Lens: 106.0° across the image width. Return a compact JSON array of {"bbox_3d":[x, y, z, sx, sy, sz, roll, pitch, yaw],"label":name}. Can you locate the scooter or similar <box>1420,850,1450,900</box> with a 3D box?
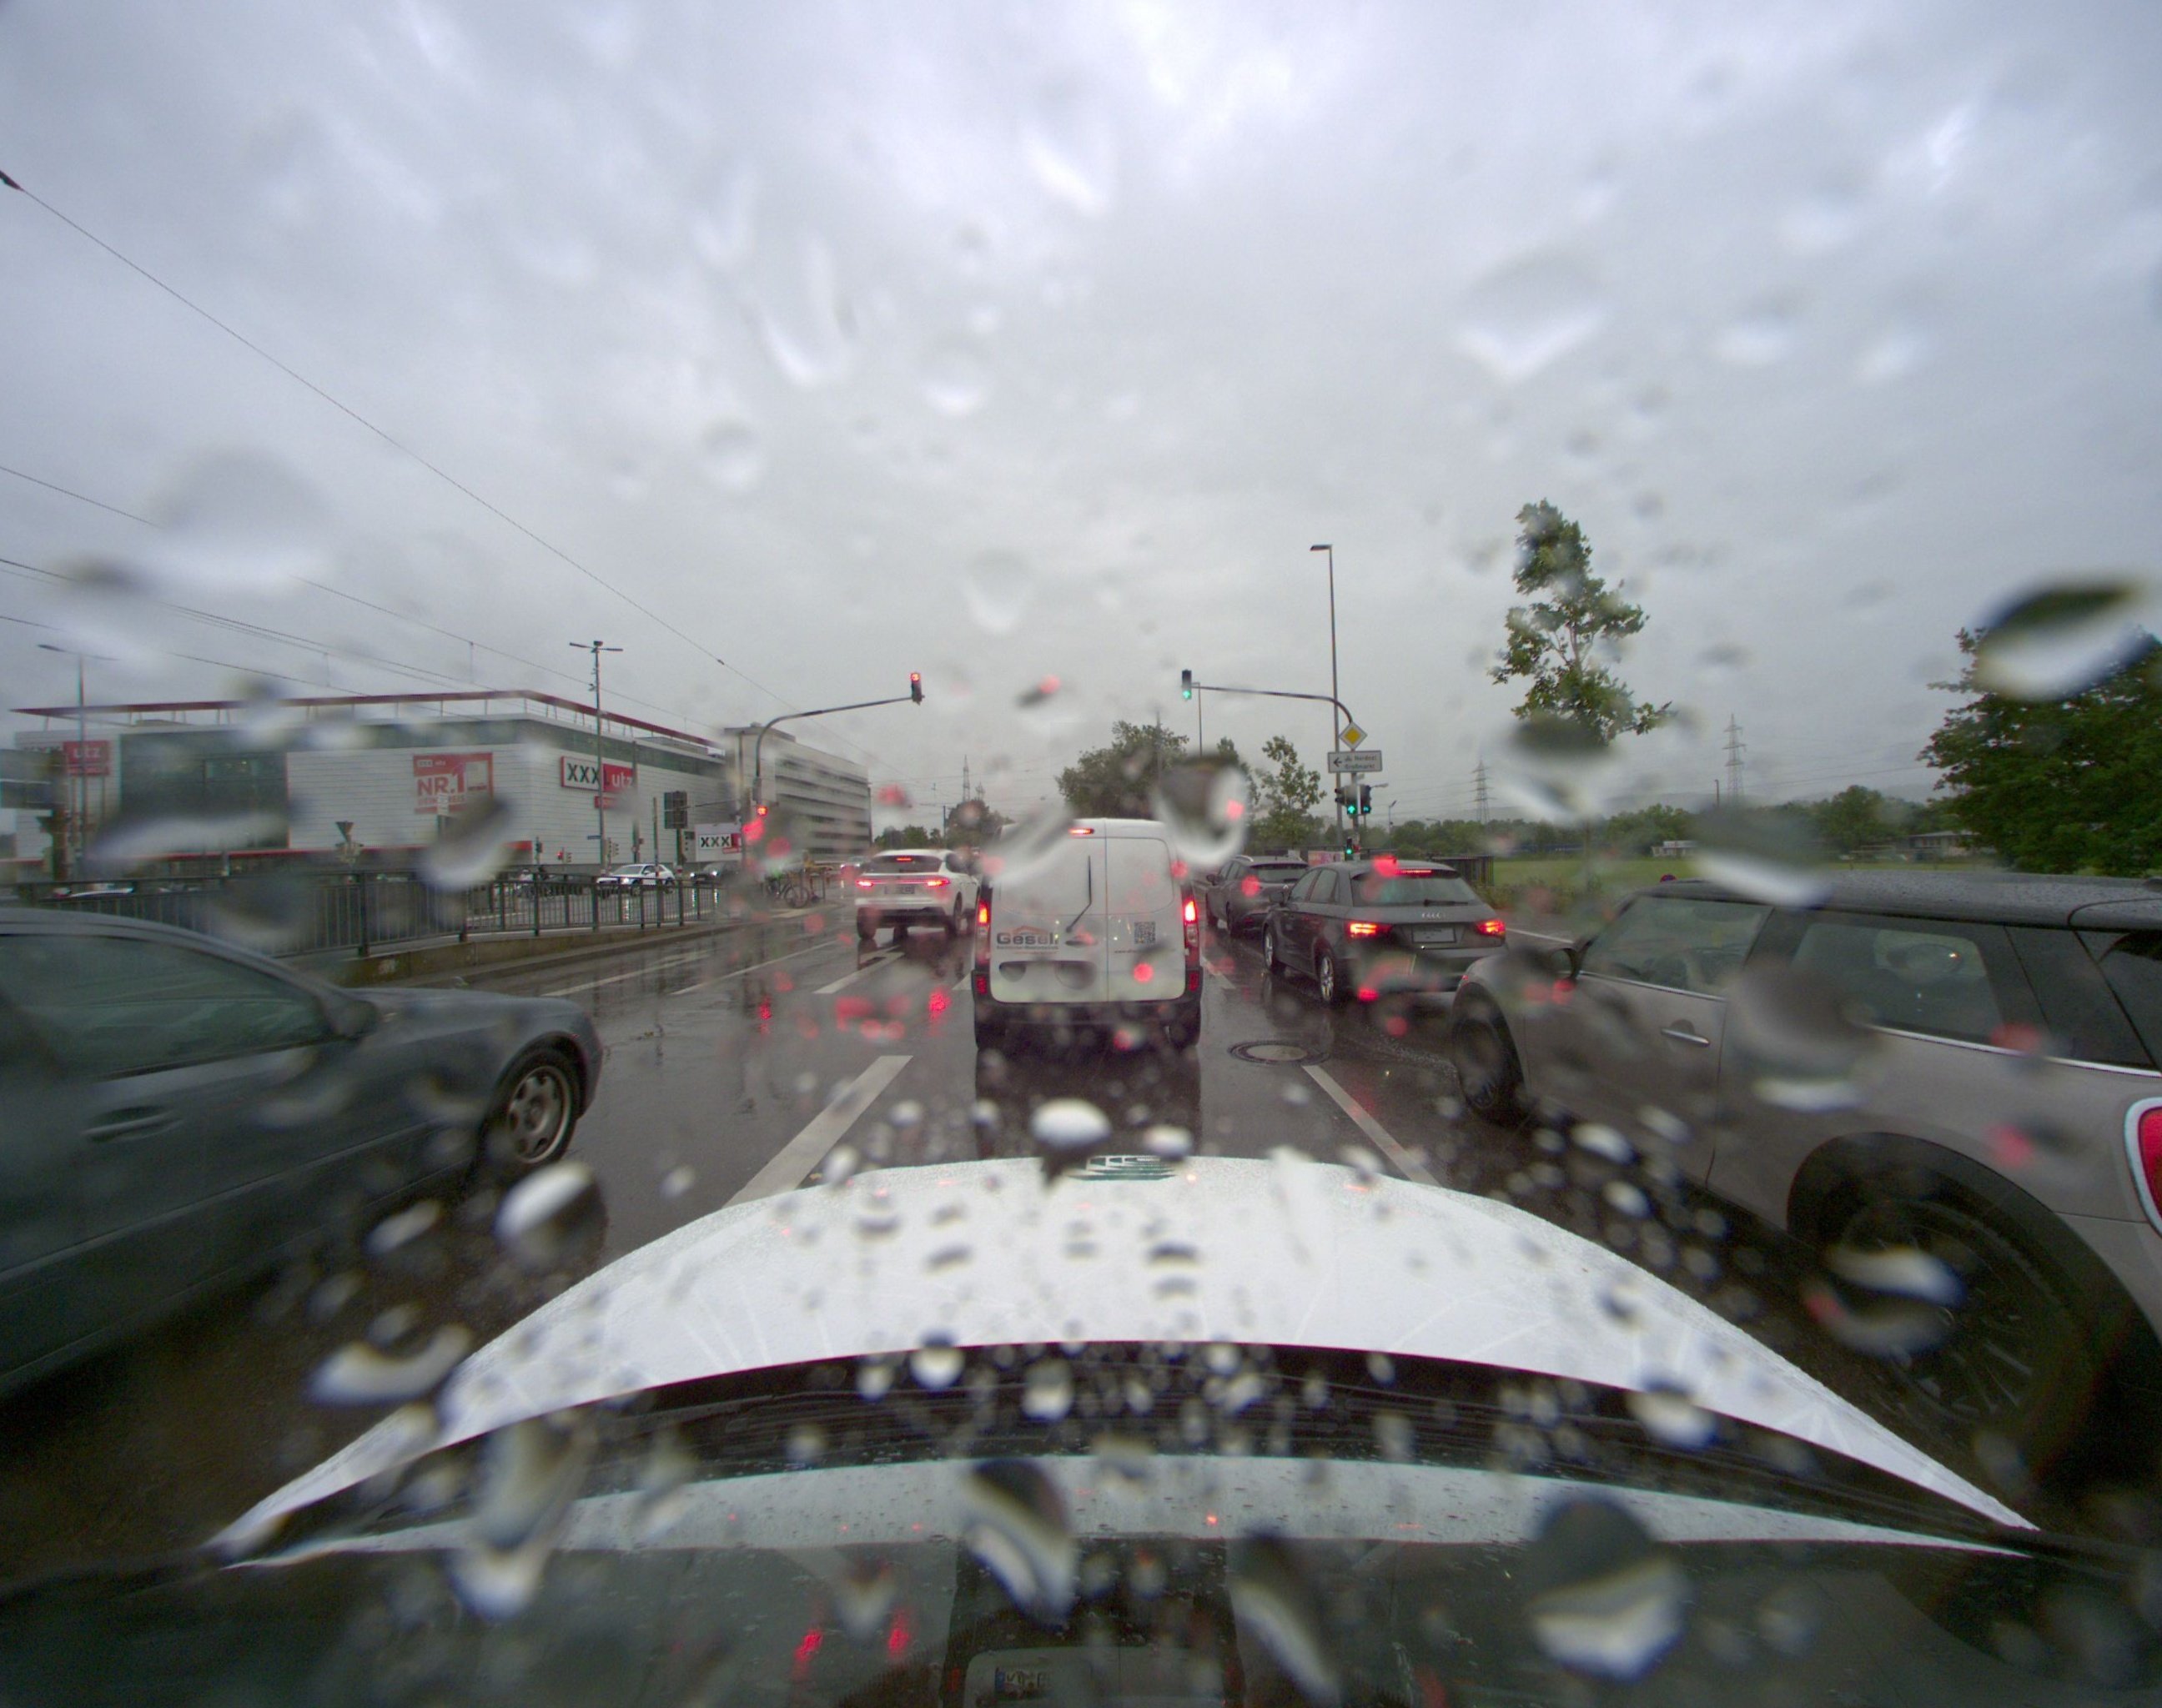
[{"bbox_3d":[8.475,0.498,19.502,0.244,1.158,1.187,0,-1,3],"label":"scooter or similar"}]

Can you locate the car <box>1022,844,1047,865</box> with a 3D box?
[{"bbox_3d":[-4.434,0.060,78.321,1.987,1.860,3.999,-4,-1,0],"label":"car"}]

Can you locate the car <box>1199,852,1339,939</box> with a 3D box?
[{"bbox_3d":[3.438,0.694,15.613,1.853,1.428,3.808,0,0,1],"label":"car"}]

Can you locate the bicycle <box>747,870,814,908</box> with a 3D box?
[{"bbox_3d":[-8.808,1.018,23.896,1.745,1.034,0.414,2,-1,0],"label":"bicycle"}]

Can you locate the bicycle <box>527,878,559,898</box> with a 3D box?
[{"bbox_3d":[-27.145,1.712,41.112,0.448,0.987,1.710,0,-1,3],"label":"bicycle"}]

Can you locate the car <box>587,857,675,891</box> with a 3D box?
[{"bbox_3d":[-21.287,0.916,38.701,1.689,1.492,3.884,-1,-1,7],"label":"car"}]

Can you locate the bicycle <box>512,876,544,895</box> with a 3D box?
[{"bbox_3d":[-29.329,1.654,43.192,0.448,0.987,1.710,0,-1,3],"label":"bicycle"}]

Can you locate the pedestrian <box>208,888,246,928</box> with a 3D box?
[{"bbox_3d":[-33.305,2.095,31.763,0.561,1.537,0.872,0,-1,1],"label":"pedestrian"}]

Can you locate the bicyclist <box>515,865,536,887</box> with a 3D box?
[{"bbox_3d":[-29.354,1.151,43.036,0.681,1.134,0.647,0,-1,3],"label":"bicyclist"}]

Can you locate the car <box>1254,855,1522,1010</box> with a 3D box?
[{"bbox_3d":[3.084,0.701,8.971,1.623,1.344,3.624,0,0,1],"label":"car"}]

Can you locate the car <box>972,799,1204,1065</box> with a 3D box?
[{"bbox_3d":[0.113,0.542,7.561,1.560,1.788,4.002,-1,0,2],"label":"car"}]

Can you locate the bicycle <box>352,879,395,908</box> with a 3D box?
[{"bbox_3d":[-28.138,1.560,32.415,0.409,1.061,1.508,0,-1,-1],"label":"bicycle"}]

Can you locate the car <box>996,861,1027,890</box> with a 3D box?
[{"bbox_3d":[-4.733,1.422,55.567,1.990,1.860,3.993,0,-1,-5],"label":"car"}]

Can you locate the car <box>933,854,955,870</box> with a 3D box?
[{"bbox_3d":[-17.568,1.007,104.468,1.985,2.014,4.003,0,-1,3],"label":"car"}]

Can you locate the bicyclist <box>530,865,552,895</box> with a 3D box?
[{"bbox_3d":[-27.183,1.300,41.016,0.681,1.464,0.647,0,-1,3],"label":"bicyclist"}]

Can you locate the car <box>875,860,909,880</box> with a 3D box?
[{"bbox_3d":[-17.970,1.463,77.453,1.919,1.827,4.007,0,-1,6],"label":"car"}]

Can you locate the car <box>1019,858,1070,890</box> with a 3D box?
[{"bbox_3d":[-1.942,1.083,44.447,1.602,1.660,4.096,-1,-1,15],"label":"car"}]

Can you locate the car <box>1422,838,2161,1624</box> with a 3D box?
[{"bbox_3d":[2.947,0.717,3.241,1.707,1.508,3.624,0,0,1],"label":"car"}]

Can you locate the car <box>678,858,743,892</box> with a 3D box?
[{"bbox_3d":[-23.587,1.376,52.011,1.984,1.904,4.004,-5,-4,5],"label":"car"}]

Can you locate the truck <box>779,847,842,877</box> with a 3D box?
[{"bbox_3d":[-22.298,0.650,67.566,2.342,2.279,7.637,0,0,2],"label":"truck"}]

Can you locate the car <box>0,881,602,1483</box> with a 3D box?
[{"bbox_3d":[-3.474,0.816,2.047,1.756,1.398,4.644,0,-1,0],"label":"car"}]

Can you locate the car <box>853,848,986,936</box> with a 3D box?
[{"bbox_3d":[-3.067,0.648,16.348,1.723,1.535,4.298,0,0,1],"label":"car"}]

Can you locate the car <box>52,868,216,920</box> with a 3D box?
[{"bbox_3d":[-38.279,1.580,33.000,4.298,2.014,2.001,0,-1,1],"label":"car"}]

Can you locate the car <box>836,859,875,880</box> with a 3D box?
[{"bbox_3d":[-19.122,1.272,69.228,1.883,1.699,4.006,0,-1,6],"label":"car"}]

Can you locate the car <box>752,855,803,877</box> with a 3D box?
[{"bbox_3d":[-19.936,0.788,53.698,1.579,1.336,3.837,0,-1,6],"label":"car"}]

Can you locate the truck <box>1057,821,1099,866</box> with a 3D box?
[{"bbox_3d":[-0.269,-0.639,55.068,2.625,2.816,7.142,-1,-1,-1],"label":"truck"}]

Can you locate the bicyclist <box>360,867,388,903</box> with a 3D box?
[{"bbox_3d":[-28.133,1.234,32.410,0.531,1.399,0.650,0,-1,-1],"label":"bicyclist"}]
